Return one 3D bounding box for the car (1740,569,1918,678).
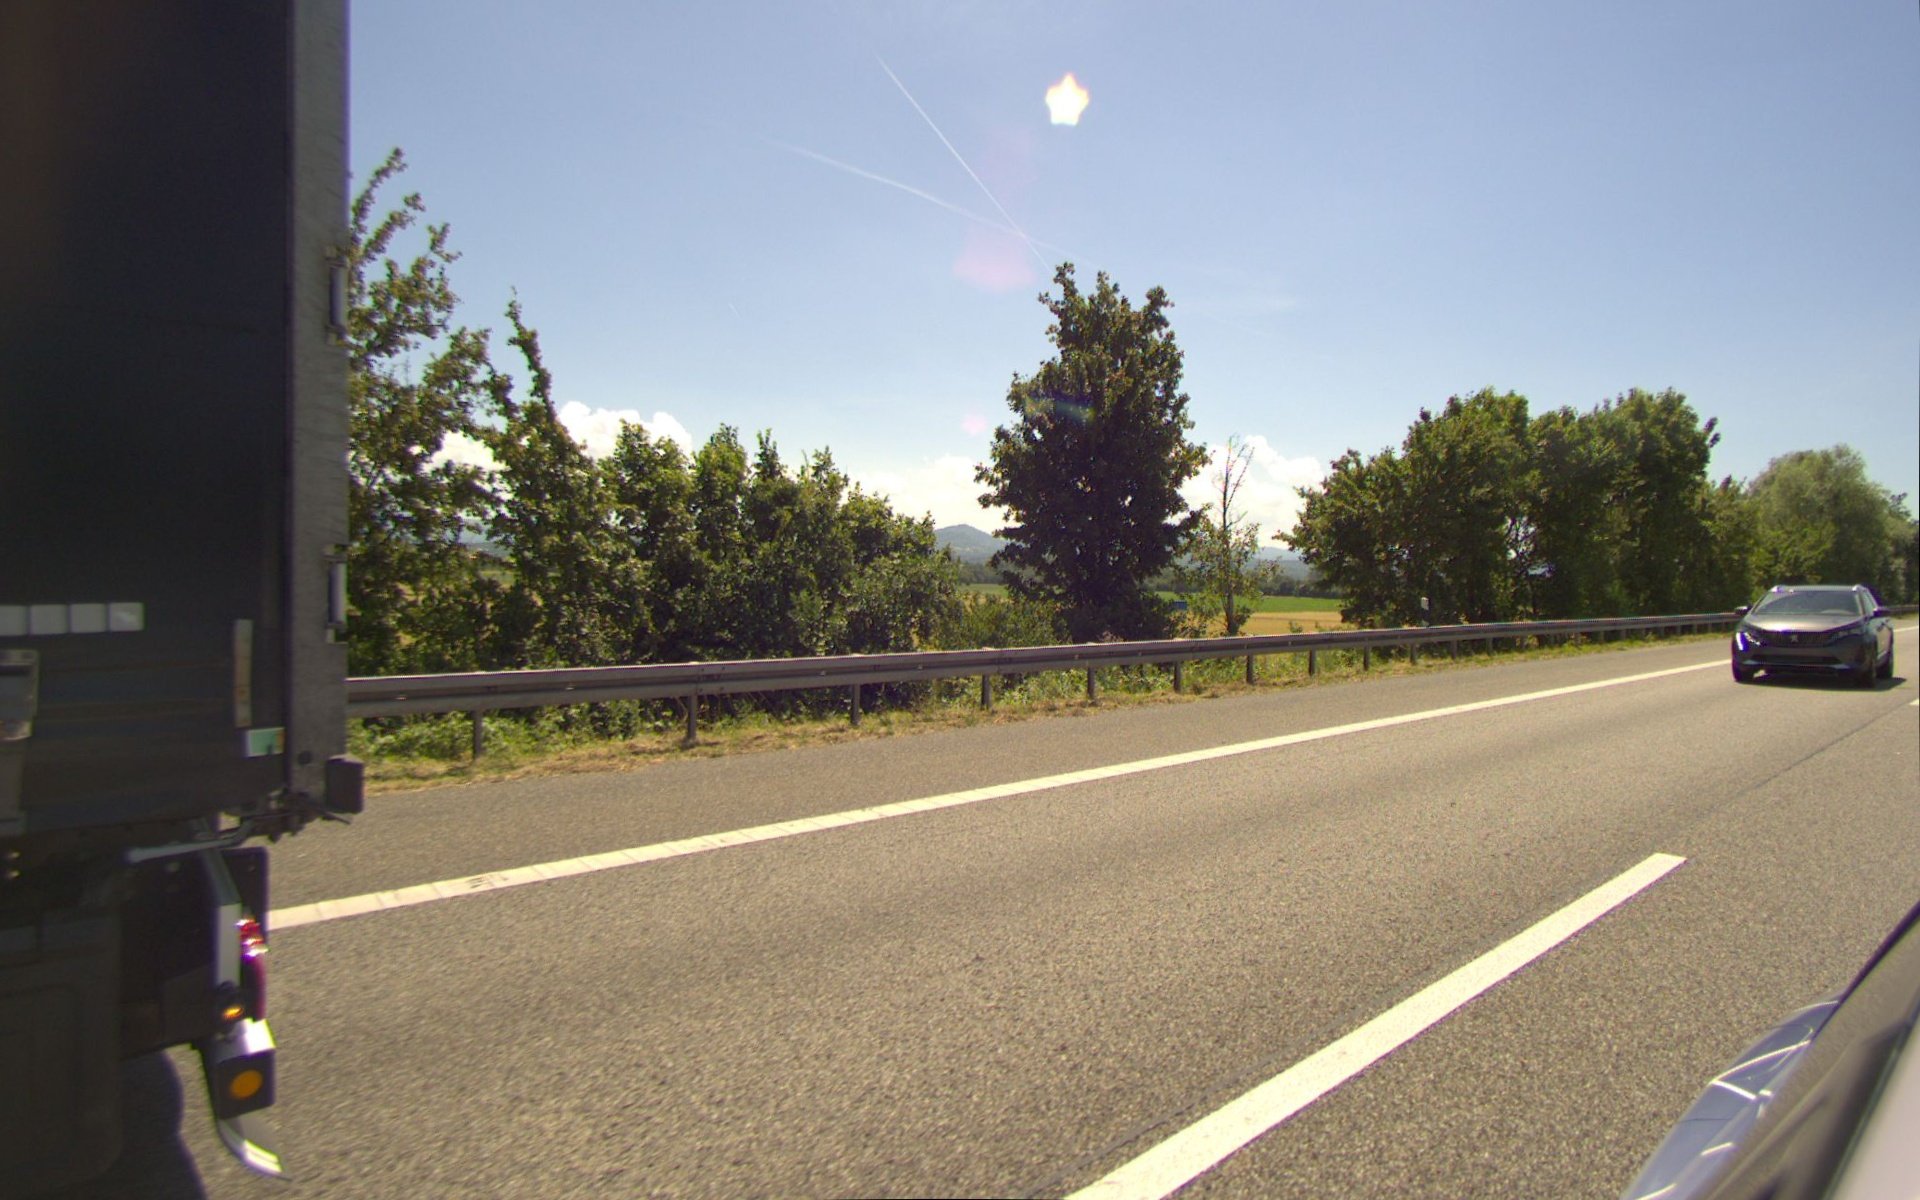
[{"bbox_3d":[14.993,0.345,17.393,4.064,1.649,1.848,0,1,-42],"label":"car"}]
